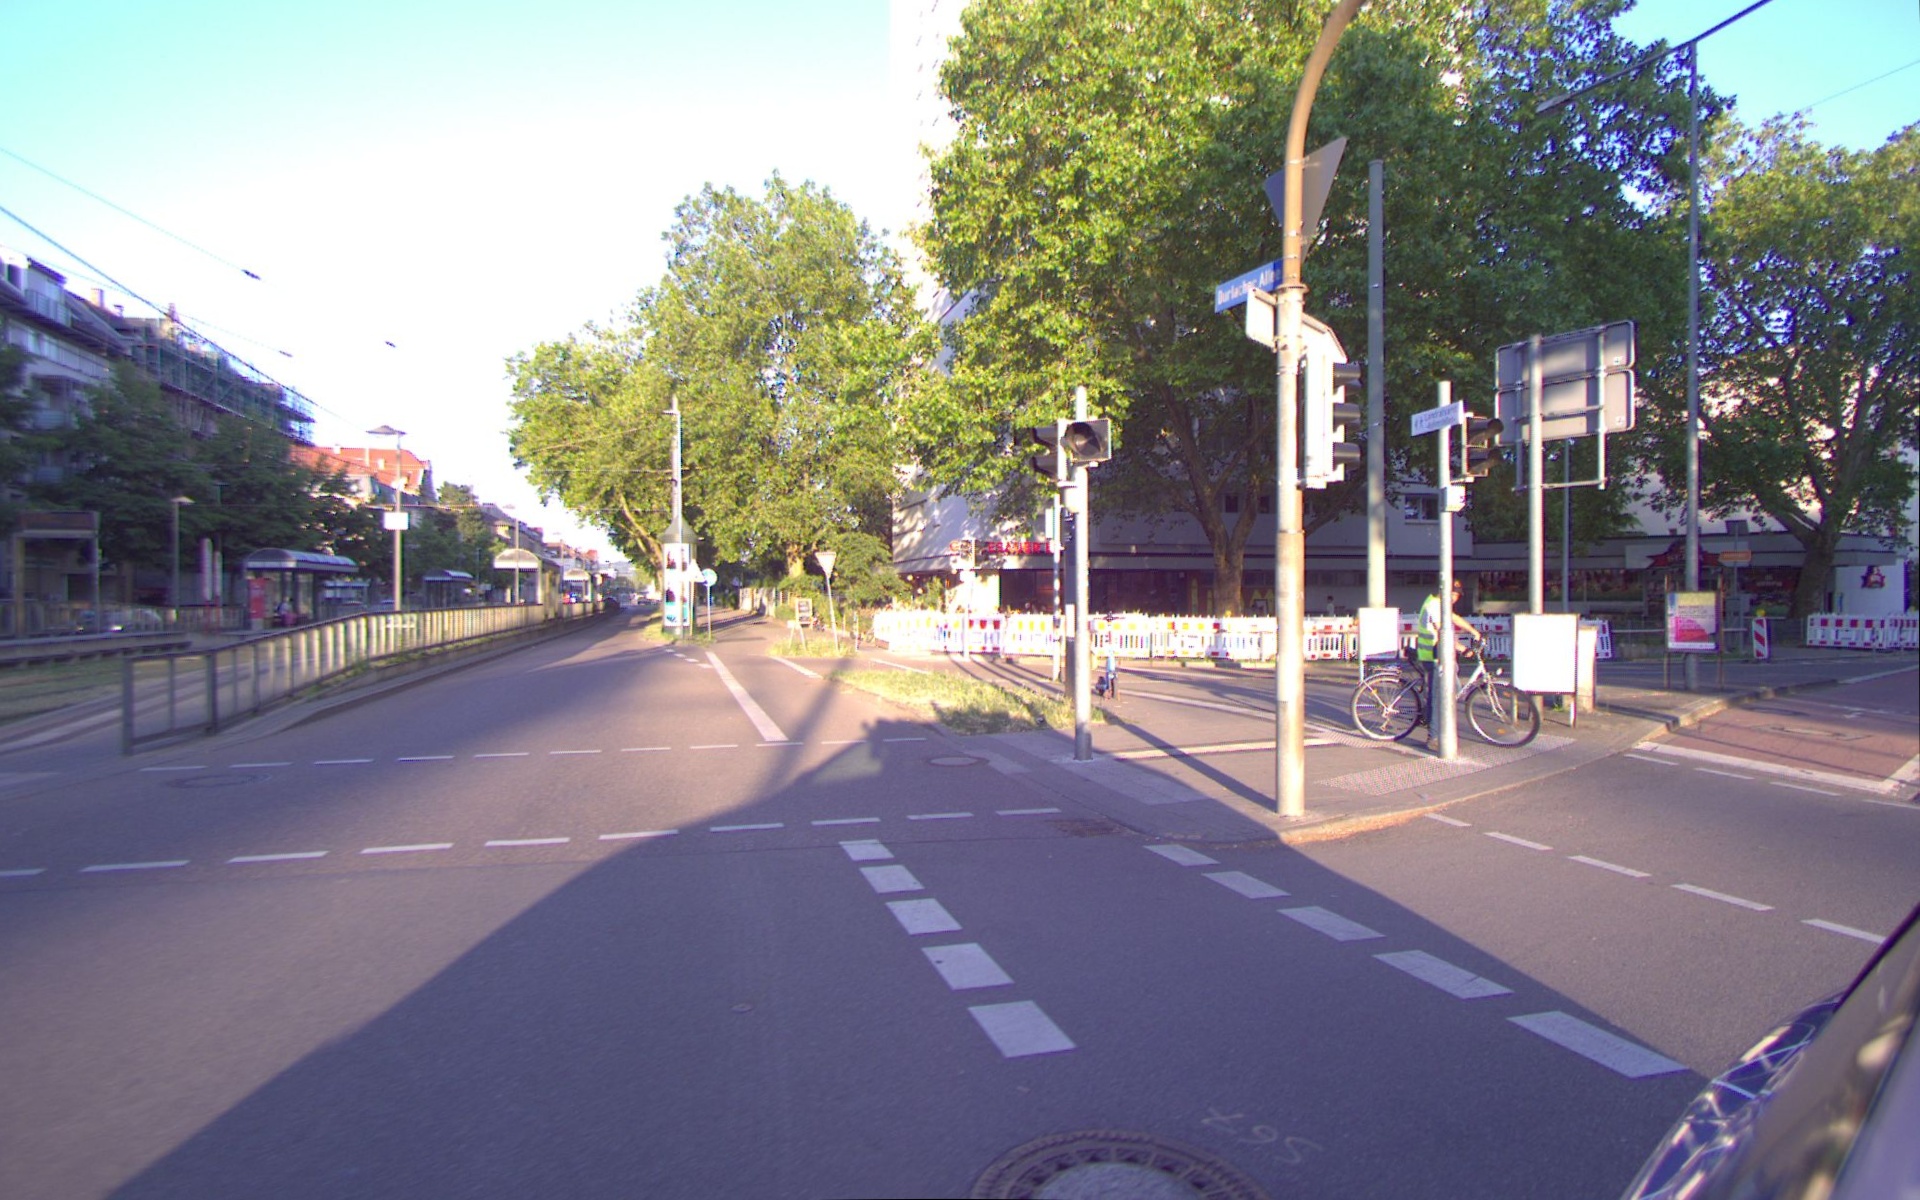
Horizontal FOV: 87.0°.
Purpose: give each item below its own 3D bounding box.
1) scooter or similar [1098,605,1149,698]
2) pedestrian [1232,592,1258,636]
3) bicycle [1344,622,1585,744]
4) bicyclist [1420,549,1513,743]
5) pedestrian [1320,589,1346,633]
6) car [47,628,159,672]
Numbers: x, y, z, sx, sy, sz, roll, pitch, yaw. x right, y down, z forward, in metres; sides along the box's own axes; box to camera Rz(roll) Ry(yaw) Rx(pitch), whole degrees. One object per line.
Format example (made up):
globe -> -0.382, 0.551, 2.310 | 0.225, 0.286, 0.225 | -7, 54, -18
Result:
scooter or similar -> 2.350, 0.719, 14.644 | 0.506, 1.265, 1.234 | -1, 0, 0
pedestrian -> 10.724, 0.517, 38.083 | 0.639, 1.608, 0.735 | -2, -1, 44
bicycle -> 4.959, 0.808, 10.099 | 2.045, 1.123, 0.624 | -2, -1, 19
bicyclist -> 5.022, 0.446, 10.077 | 0.689, 1.847, 0.624 | -2, -1, 19
pedestrian -> 13.916, 0.424, 37.740 | 0.638, 1.608, 0.736 | -2, -1, 41
car -> -33.500, 1.909, 39.694 | 1.811, 1.505, 4.008 | -1, 0, -15
